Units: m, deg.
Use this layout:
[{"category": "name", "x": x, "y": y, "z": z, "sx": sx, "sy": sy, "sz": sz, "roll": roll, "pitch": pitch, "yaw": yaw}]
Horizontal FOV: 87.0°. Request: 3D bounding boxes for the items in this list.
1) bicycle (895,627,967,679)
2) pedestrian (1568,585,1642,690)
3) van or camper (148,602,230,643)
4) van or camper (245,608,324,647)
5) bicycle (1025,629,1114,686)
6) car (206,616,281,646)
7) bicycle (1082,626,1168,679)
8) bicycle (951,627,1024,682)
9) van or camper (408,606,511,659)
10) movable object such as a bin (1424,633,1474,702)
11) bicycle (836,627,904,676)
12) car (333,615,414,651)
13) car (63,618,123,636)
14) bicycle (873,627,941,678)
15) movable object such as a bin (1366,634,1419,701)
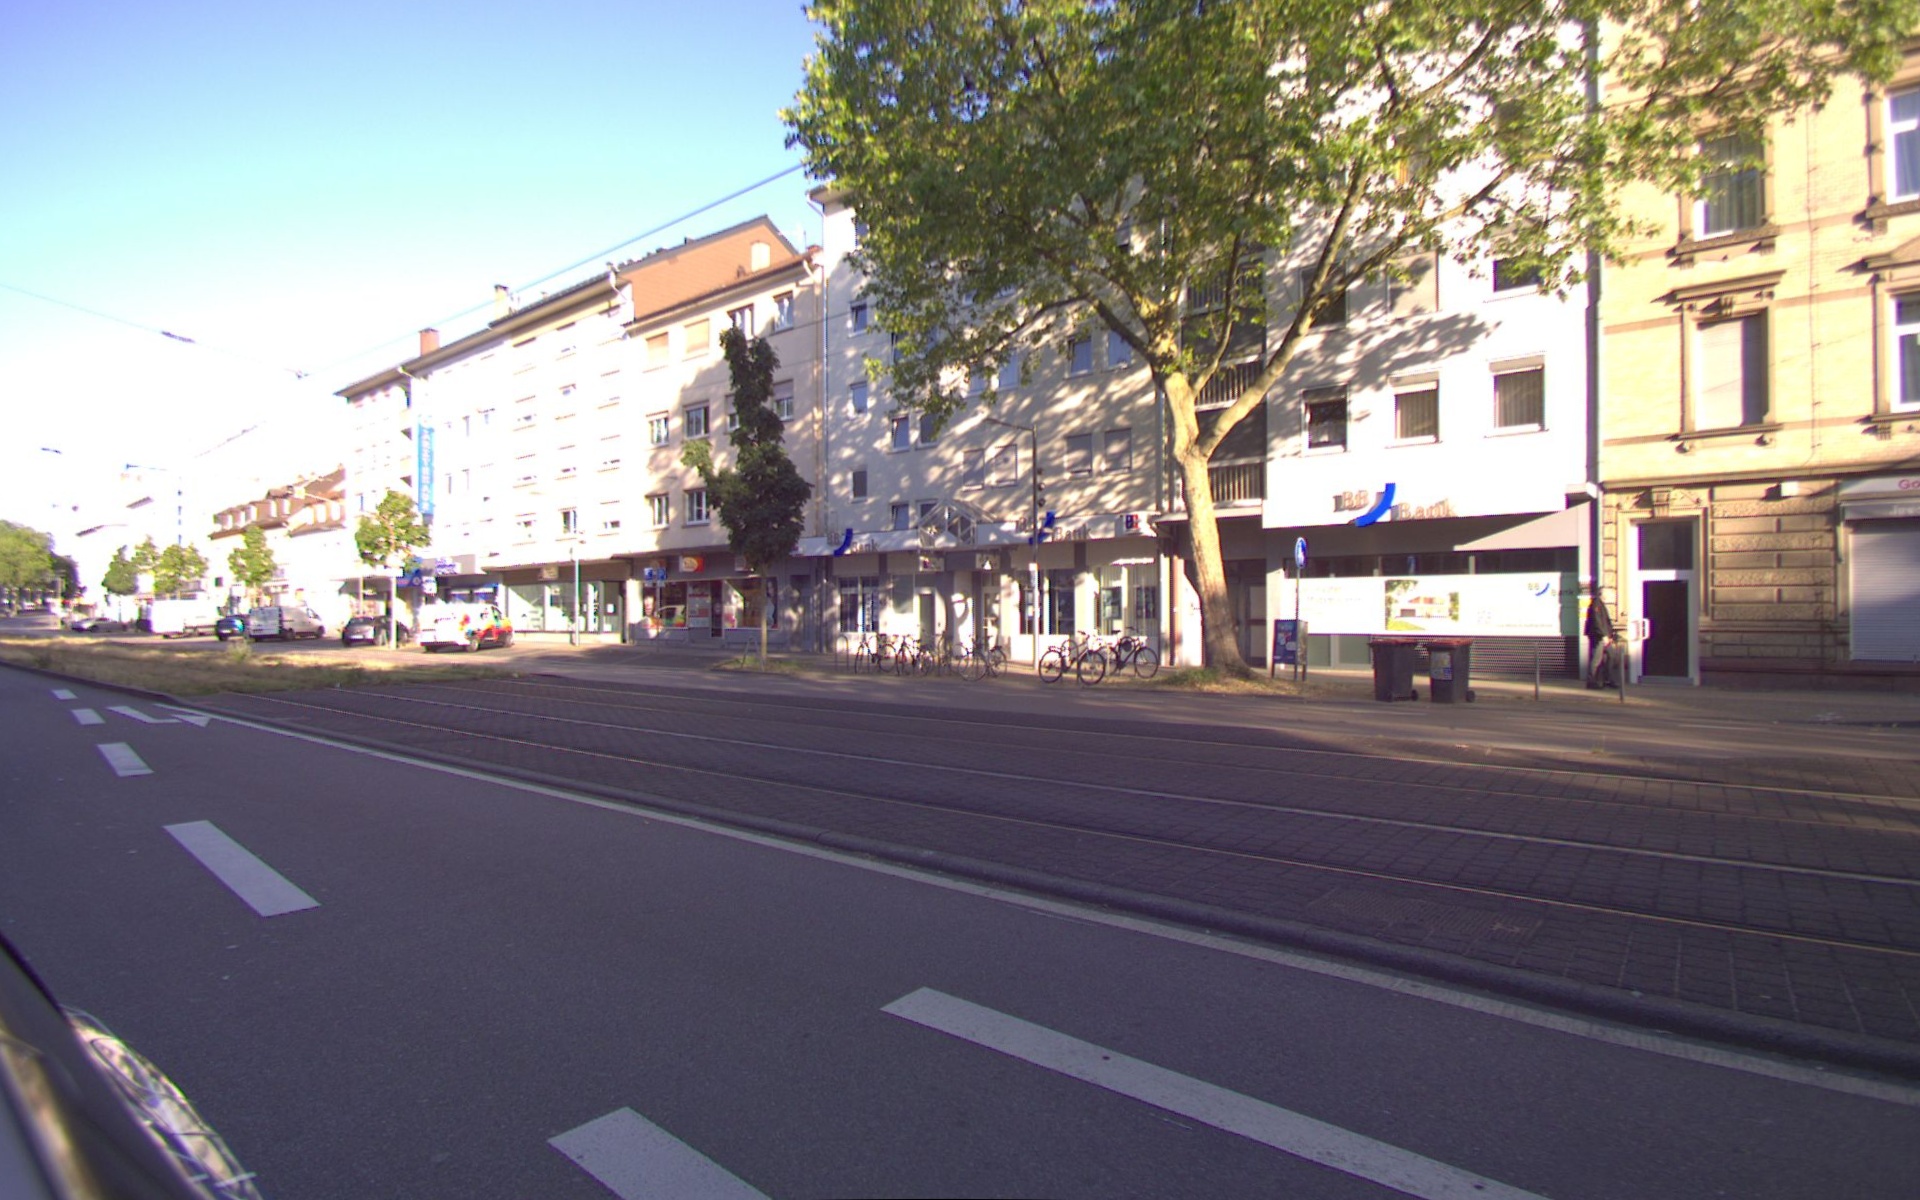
[{"category": "bicycle", "x": -0.664, "y": 1.244, "z": 24.151, "sx": 0.651, "sy": 1.133, "sz": 1.876, "roll": -1, "pitch": 0, "yaw": 38}, {"category": "pedestrian", "x": 11.573, "y": 0.658, "z": 18.158, "sx": 0.611, "sy": 1.801, "sz": 0.971, "roll": -2, "pitch": 1, "yaw": -45}, {"category": "van or camper", "x": -54.516, "y": 1.524, "z": 71.743, "sx": 1.967, "sy": 2.687, "sz": 6.413, "roll": -2, "pitch": 1, "yaw": -11}, {"category": "van or camper", "x": -38.715, "y": 1.517, "z": 58.150, "sx": 1.773, "sy": 2.004, "sz": 4.455, "roll": -2, "pitch": 1, "yaw": -4}, {"category": "bicycle", "x": 2.273, "y": 1.183, "z": 21.177, "sx": 1.911, "sy": 1.133, "sz": 0.503, "roll": -1, "pitch": 0, "yaw": 43}, {"category": "car", "x": -44.123, "y": 1.869, "z": 62.432, "sx": 1.852, "sy": 1.598, "sz": 4.003, "roll": -2, "pitch": 1, "yaw": -3}, {"category": "bicycle", "x": 3.690, "y": 1.153, "z": 22.753, "sx": 1.911, "sy": 1.133, "sz": 0.503, "roll": -1, "pitch": 0, "yaw": 43}, {"category": "bicycle", "x": 0.653, "y": 1.220, "z": 23.054, "sx": 0.651, "sy": 1.133, "sz": 1.876, "roll": -1, "pitch": 0, "yaw": 38}, {"category": "van or camper", "x": -20.308, "y": 1.273, "z": 41.328, "sx": 1.923, "sy": 1.912, "sz": 4.817, "roll": -2, "pitch": 1, "yaw": -2}, {"category": "movable object such as a bin", "x": 8.093, "y": 1.107, "z": 16.752, "sx": 0.469, "sy": 1.102, "sz": 0.575, "roll": 0, "pitch": -2, "yaw": -9}, {"category": "bicycle", "x": -2.242, "y": 1.266, "z": 25.468, "sx": 0.533, "sy": 1.133, "sz": 1.876, "roll": -1, "pitch": 0, "yaw": 38}, {"category": "car", "x": -28.431, "y": 1.576, "z": 49.229, "sx": 1.742, "sy": 1.501, "sz": 4.458, "roll": -2, "pitch": 1, "yaw": -6}, {"category": "car", "x": -80.811, "y": 2.528, "z": 94.413, "sx": 1.755, "sy": 1.501, "sz": 3.893, "roll": -2, "pitch": 1, "yaw": 18}, {"category": "bicycle", "x": -1.277, "y": 1.251, "z": 24.668, "sx": 0.533, "sy": 1.133, "sz": 1.876, "roll": -1, "pitch": 0, "yaw": 38}, {"category": "movable object such as a bin", "x": 7.350, "y": 1.131, "z": 17.221, "sx": 0.536, "sy": 1.102, "sz": 0.649, "roll": 0, "pitch": -2, "yaw": -9}]
